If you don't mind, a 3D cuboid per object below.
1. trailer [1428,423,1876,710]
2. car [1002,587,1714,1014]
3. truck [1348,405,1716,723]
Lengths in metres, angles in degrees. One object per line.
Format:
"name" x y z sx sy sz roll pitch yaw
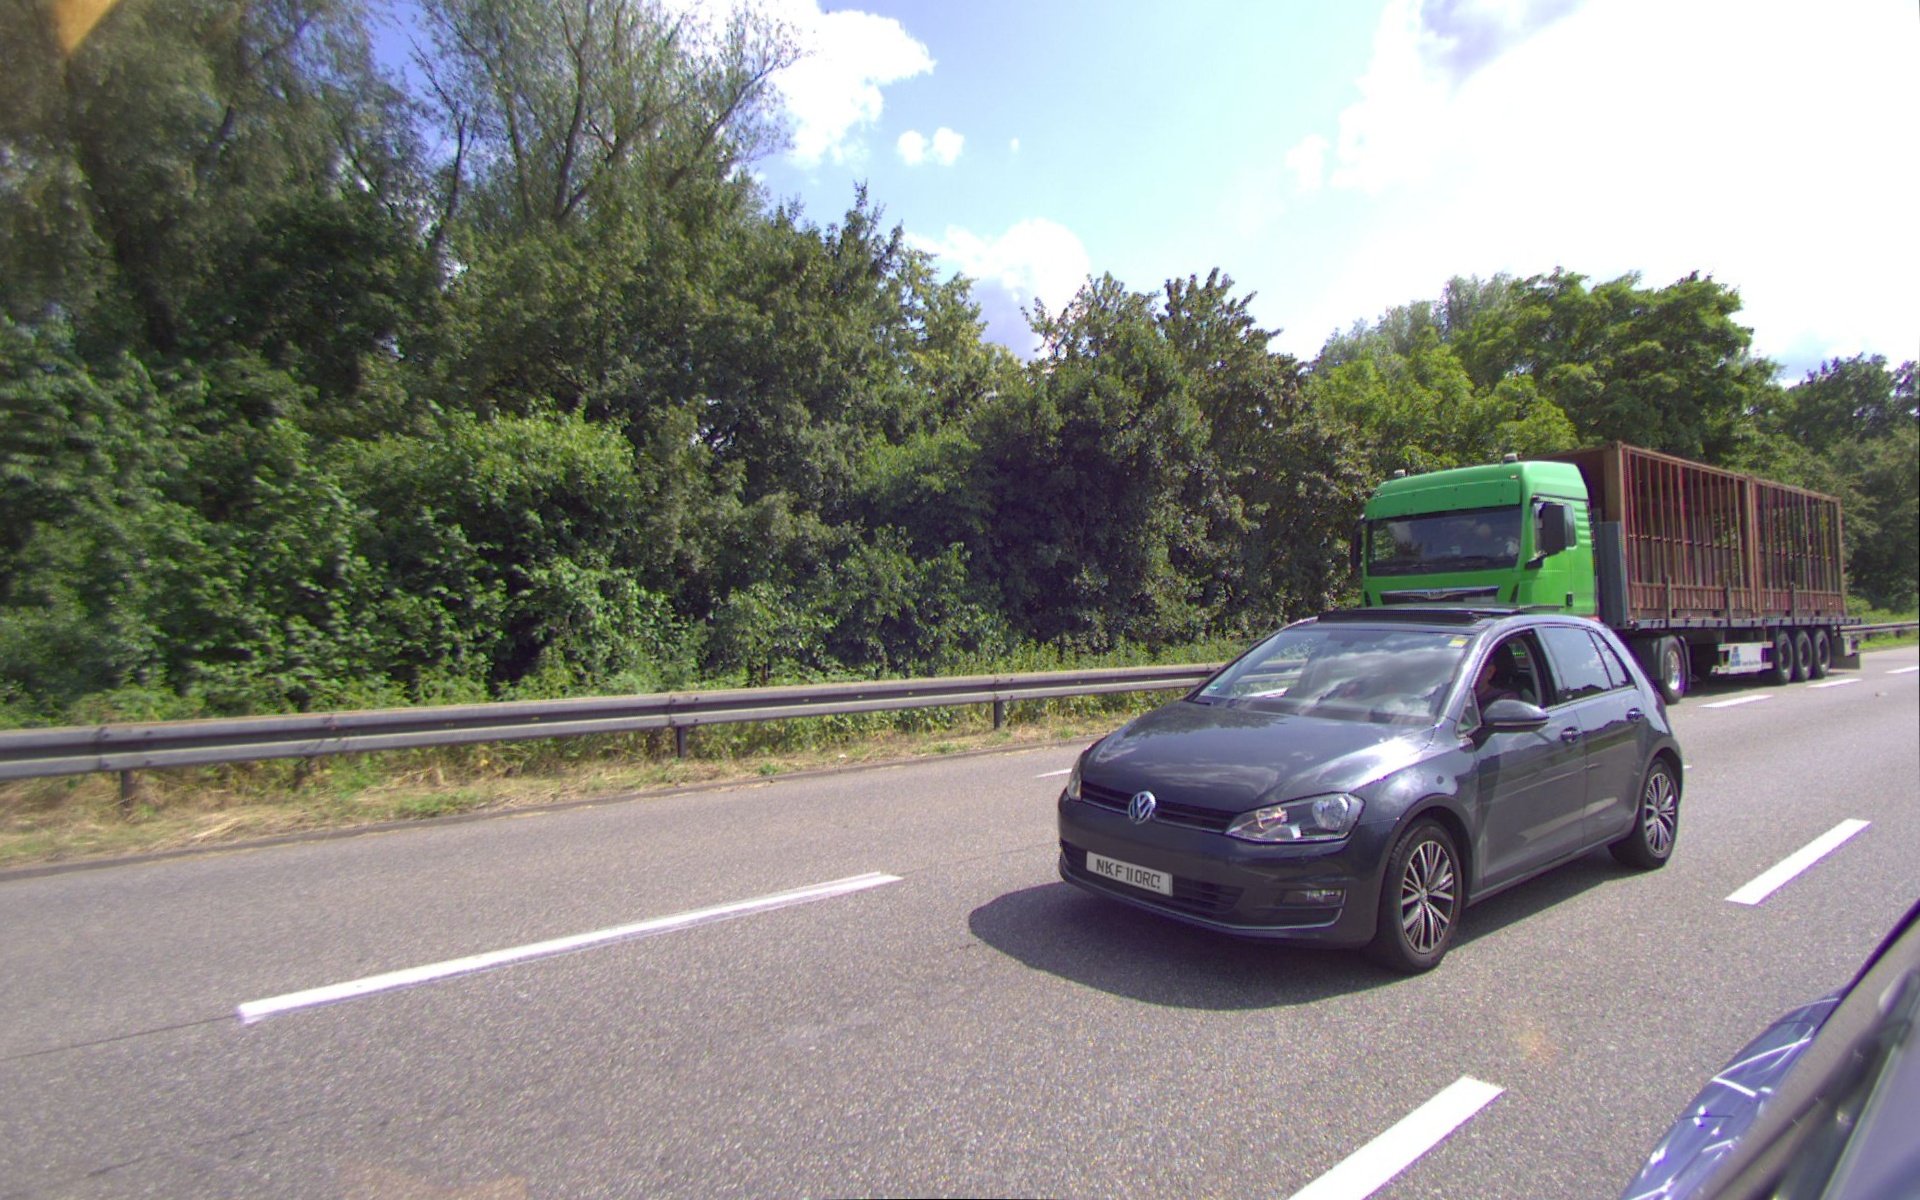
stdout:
"trailer" 13.891 -0.417 19.275 14.233 3.944 2.591 0 -3 -38
"car" 2.310 0.712 5.448 3.971 1.495 1.736 0 -1 -37
"truck" 8.813 -0.407 15.370 5.949 3.945 2.591 0 -3 -37
